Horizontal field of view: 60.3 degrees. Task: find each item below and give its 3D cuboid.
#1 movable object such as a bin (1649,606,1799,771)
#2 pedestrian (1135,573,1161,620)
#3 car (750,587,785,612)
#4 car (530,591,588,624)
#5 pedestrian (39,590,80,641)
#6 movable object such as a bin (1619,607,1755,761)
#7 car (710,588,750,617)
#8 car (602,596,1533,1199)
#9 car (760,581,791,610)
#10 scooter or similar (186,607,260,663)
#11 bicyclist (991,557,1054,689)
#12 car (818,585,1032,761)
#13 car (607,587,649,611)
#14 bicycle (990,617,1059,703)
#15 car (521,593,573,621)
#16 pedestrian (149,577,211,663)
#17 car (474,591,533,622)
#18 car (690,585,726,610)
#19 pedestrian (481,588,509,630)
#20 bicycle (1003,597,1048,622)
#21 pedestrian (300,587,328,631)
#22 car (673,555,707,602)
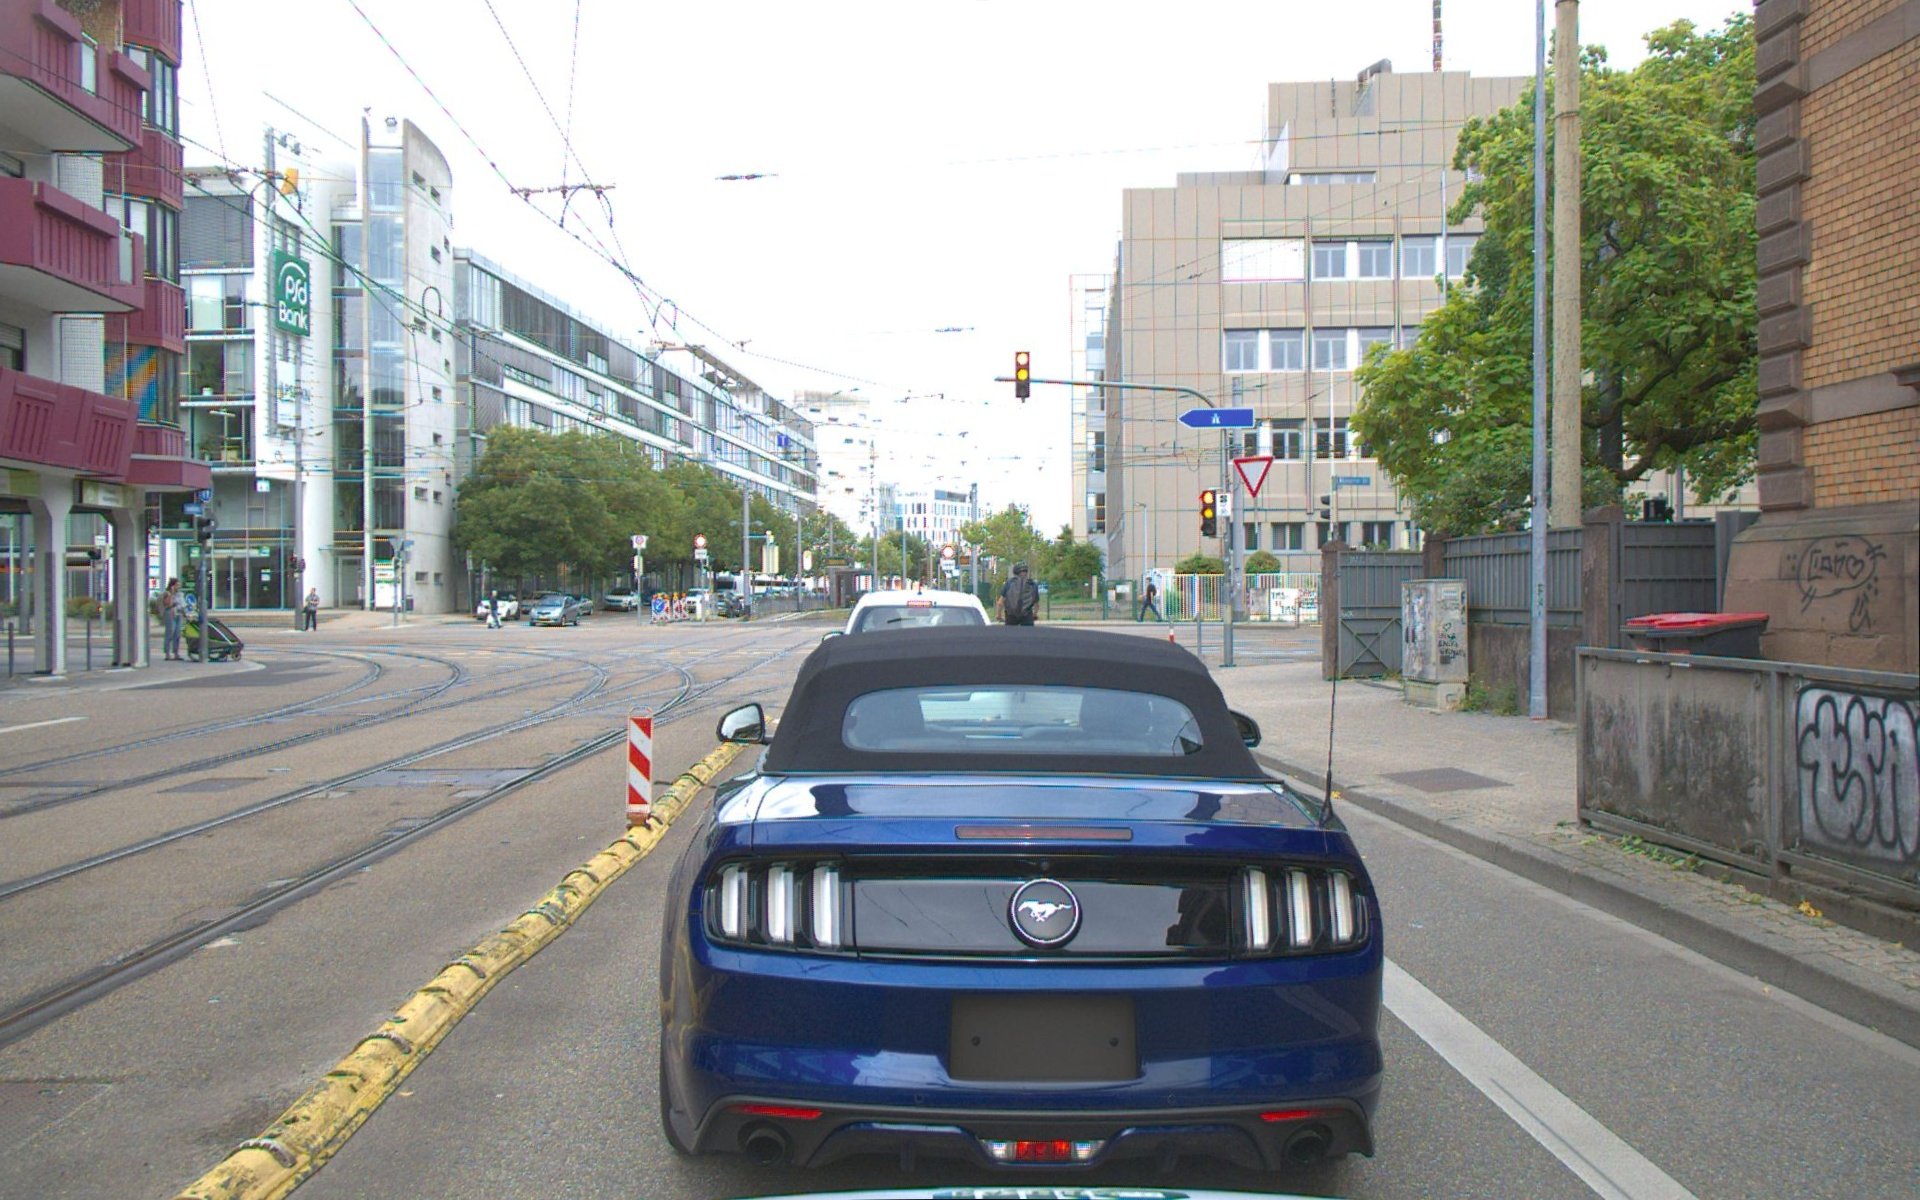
[{"bbox_3d":[5.498,0.620,11.934,0.650,1.101,0.700,-4,0,-6],"label":"movable object such as a bin"},{"bbox_3d":[7.893,-0.157,69.502,1.063,1.931,0.902,-1,0,5],"label":"pedestrian"},{"bbox_3d":[-12.850,-0.052,110.591,1.830,1.634,4.212,-1,0,-1],"label":"car"},{"bbox_3d":[-20.002,0.338,82.716,1.633,1.533,4.236,1,1,3],"label":"car"},{"bbox_3d":[-30.848,0.529,56.661,0.915,1.700,0.766,-1,0,11],"label":"pedestrian"},{"bbox_3d":[5.546,0.625,12.651,0.638,1.101,0.677,-4,0,-6],"label":"movable object such as a bin"},{"bbox_3d":[-13.468,0.138,97.047,1.841,1.657,4.086,-1,0,-1],"label":"car"},{"bbox_3d":[0.198,0.728,5.433,1.838,1.428,4.282,1,0,-1],"label":"car"},{"bbox_3d":[-12.910,-0.323,115.758,1.749,2.022,4.120,-1,0,-1],"label":"car"},{"bbox_3d":[-15.566,0.735,34.961,1.172,1.148,0.946,0,0,-3],"label":"scooter or similar"},{"bbox_3d":[0.873,0.308,23.467,0.780,1.816,1.232,-1,0,-3],"label":"bicyclist"},{"bbox_3d":[-0.468,0.602,16.131,1.799,1.464,4.183,-1,0,-5],"label":"car"},{"bbox_3d":[-23.230,-0.059,115.994,1.945,1.584,4.513,1,1,0],"label":"car"},{"bbox_3d":[0.887,0.819,23.296,0.784,1.105,2.130,-1,0,-3],"label":"bicycle"},{"bbox_3d":[-24.361,0.384,97.783,1.791,1.584,4.218,1,1,3],"label":"car"},{"bbox_3d":[-16.434,0.411,34.874,0.929,1.774,0.811,0,0,-5],"label":"pedestrian"},{"bbox_3d":[-24.987,0.336,90.649,1.791,1.584,4.218,1,1,3],"label":"car"},{"bbox_3d":[-17.549,-0.175,115.368,1.679,1.689,4.135,1,1,3],"label":"car"},{"bbox_3d":[-21.528,0.406,76.560,0.968,1.888,0.902,-1,0,6],"label":"pedestrian"},{"bbox_3d":[2.884,0.421,72.763,0.629,0.998,2.125,-1,-2,-42],"label":"bicycle"},{"bbox_3d":[-28.022,0.394,71.762,0.816,1.897,0.766,-1,0,11],"label":"pedestrian"},{"bbox_3d":[-22.027,-1.722,135.029,1.945,3.700,4.513,1,0,0],"label":"car"}]
